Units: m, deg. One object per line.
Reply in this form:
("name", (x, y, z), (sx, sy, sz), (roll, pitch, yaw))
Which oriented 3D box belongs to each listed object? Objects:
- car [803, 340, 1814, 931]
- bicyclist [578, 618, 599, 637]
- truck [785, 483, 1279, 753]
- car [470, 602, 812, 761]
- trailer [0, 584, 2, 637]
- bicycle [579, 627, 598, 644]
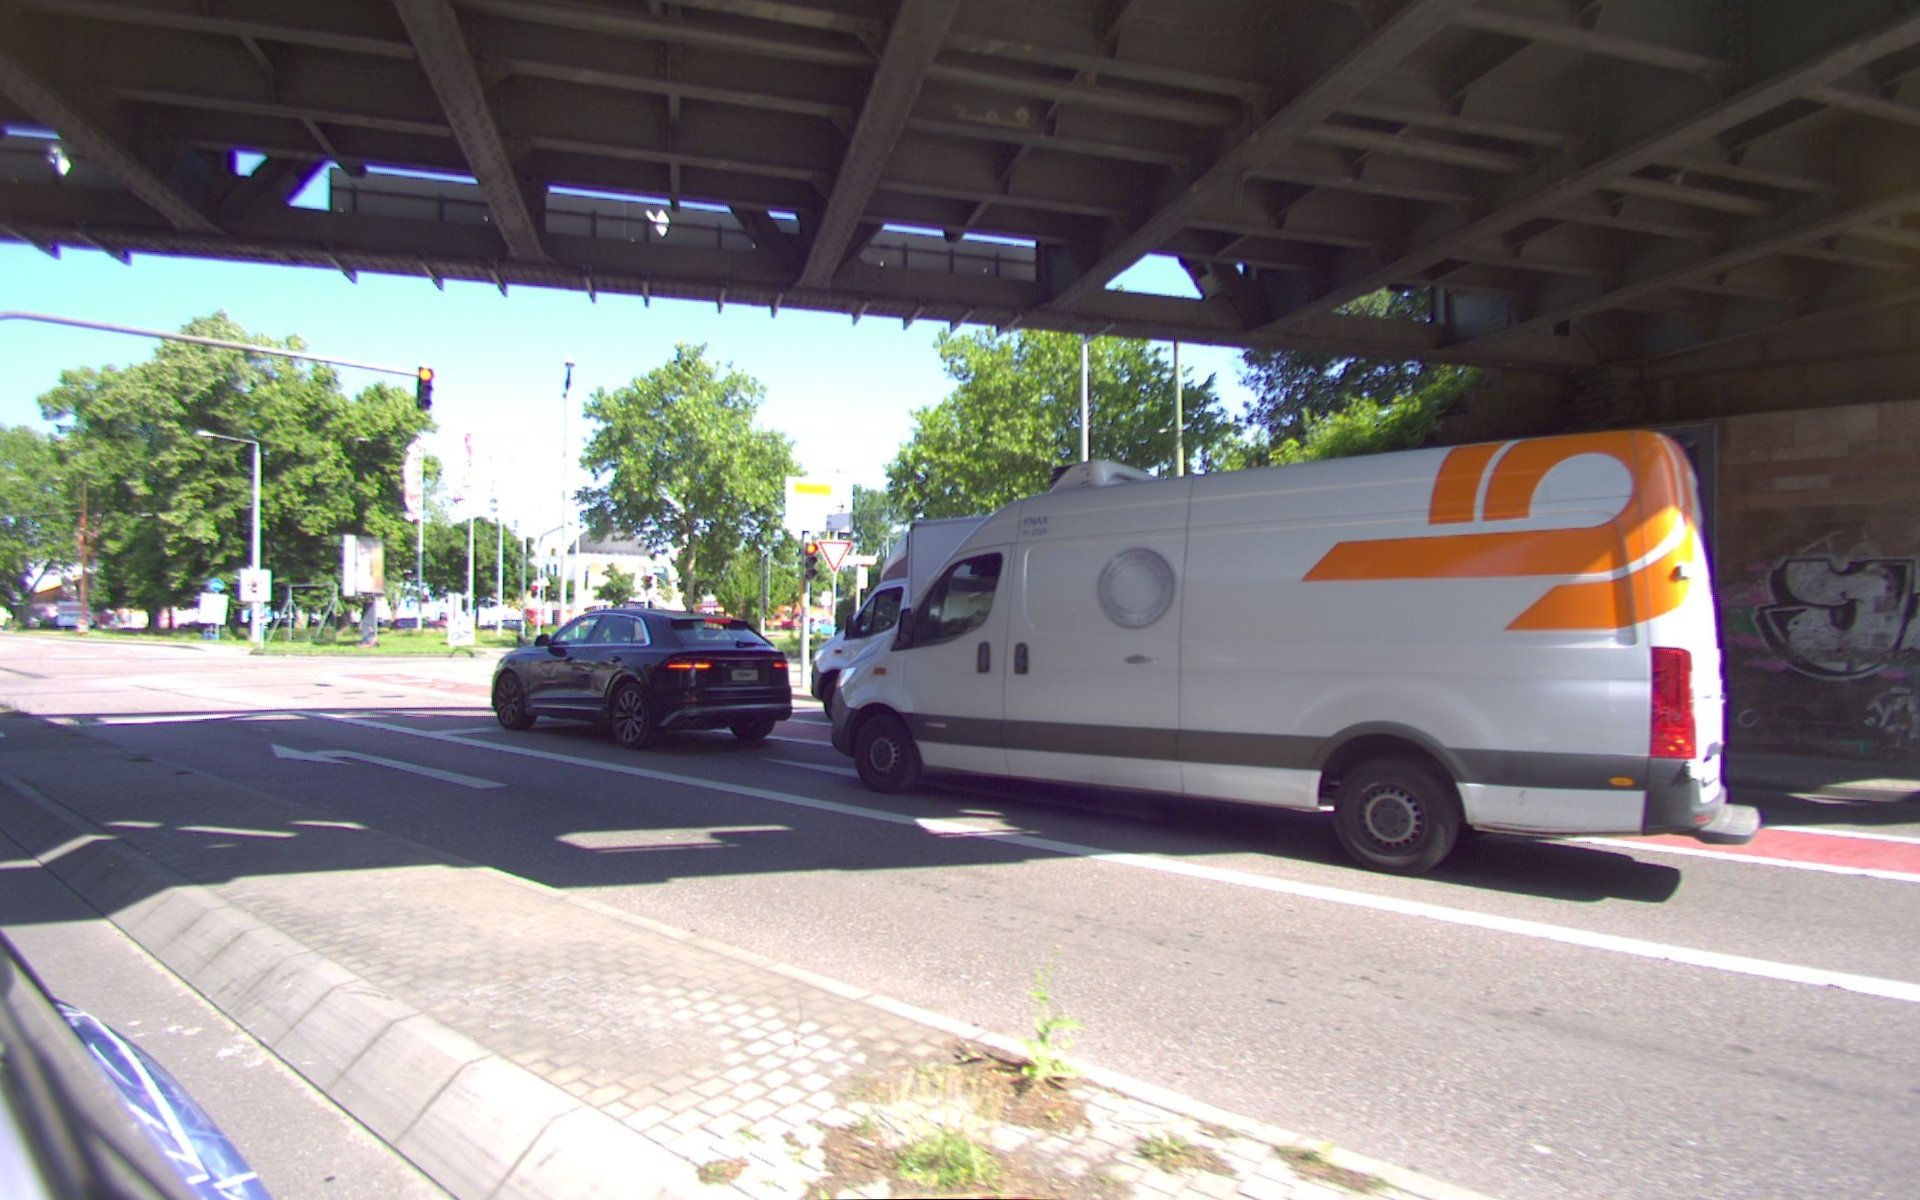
("car", (1.940, 0.241, 7.777), (6.928, 2.826, 1.974), (-1, -4, 38))
("bicyclist", (-20.944, 1.545, 57.044), (0.877, 1.092, 0.954), (1, -2, -34))
("truck", (0.756, 0.259, 14.740), (7.057, 3.112, 2.319), (-1, -1, 37))
("car", (-4.318, 0.918, 13.233), (4.947, 1.694, 1.973), (-1, -2, 41))
("trailer", (-78.708, 1.017, 79.947), (12.127, 3.992, 2.903), (-2, 0, 40))
("bicycle", (-20.934, 1.995, 57.016), (0.537, 0.929, 1.882), (1, -1, -34))
